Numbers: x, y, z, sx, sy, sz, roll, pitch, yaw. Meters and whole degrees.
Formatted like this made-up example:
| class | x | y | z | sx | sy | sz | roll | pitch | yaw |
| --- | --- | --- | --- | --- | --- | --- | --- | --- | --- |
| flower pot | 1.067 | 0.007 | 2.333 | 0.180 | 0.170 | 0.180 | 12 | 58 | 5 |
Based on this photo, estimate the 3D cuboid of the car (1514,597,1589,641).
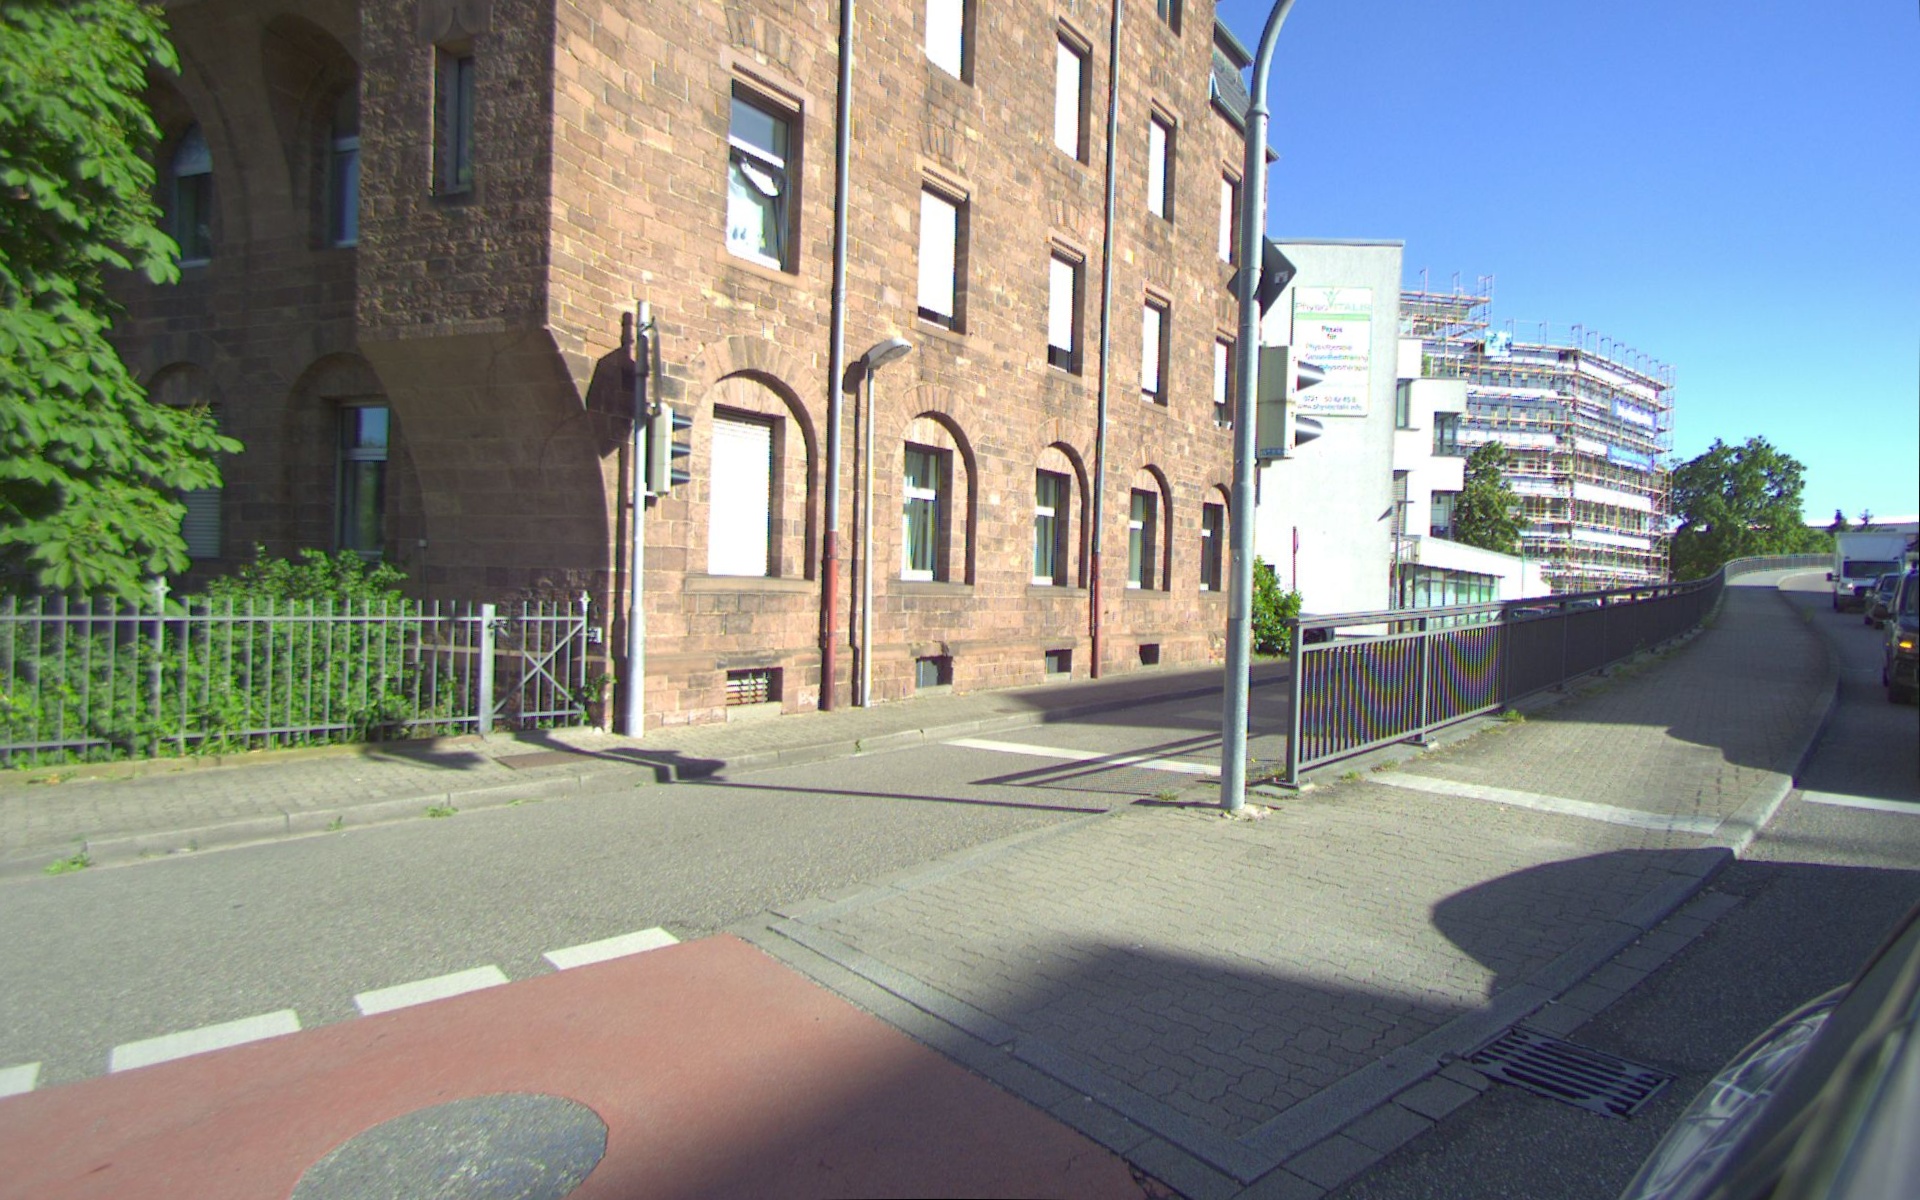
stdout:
| class | x | y | z | sx | sy | sz | roll | pitch | yaw |
| --- | --- | --- | --- | --- | --- | --- | --- | --- | --- |
| car | 22.891 | 0.695 | 39.076 | 2.043 | 1.551 | 4.037 | 2 | 0 | 37 |

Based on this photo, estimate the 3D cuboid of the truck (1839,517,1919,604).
| class | x | y | z | sx | sy | sz | roll | pitch | yaw |
| --- | --- | --- | --- | --- | --- | --- | --- | --- | --- |
| truck | 37.092 | -1.501 | 40.716 | 2.495 | 3.167 | 6.855 | 2 | 1 | 41 |

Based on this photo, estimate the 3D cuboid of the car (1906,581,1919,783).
| class | x | y | z | sx | sy | sz | roll | pitch | yaw |
| --- | --- | --- | --- | --- | --- | --- | --- | --- | --- |
| car | 9.287 | 0.626 | 8.492 | 1.875 | 1.489 | 4.562 | 3 | 2 | 44 |

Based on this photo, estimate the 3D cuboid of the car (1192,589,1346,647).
| class | x | y | z | sx | sy | sz | roll | pitch | yaw |
| --- | --- | --- | --- | --- | --- | --- | --- | --- | --- |
| car | 9.118 | 0.516 | 30.179 | 4.020 | 1.551 | 1.917 | 2 | 0 | 5 |

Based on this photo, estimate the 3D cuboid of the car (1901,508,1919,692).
| class | x | y | z | sx | sy | sz | roll | pitch | yaw |
| --- | --- | --- | --- | --- | --- | --- | --- | --- | --- |
| car | 14.138 | 0.052 | 13.719 | 1.945 | 2.290 | 4.710 | 2 | 1 | 43 |

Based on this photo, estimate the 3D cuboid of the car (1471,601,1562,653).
| class | x | y | z | sx | sy | sz | roll | pitch | yaw |
| --- | --- | --- | --- | --- | --- | --- | --- | --- | --- |
| car | 18.588 | 0.871 | 33.708 | 2.043 | 1.551 | 4.036 | 2 | 0 | 38 |

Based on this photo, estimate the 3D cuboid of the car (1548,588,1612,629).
| class | x | y | z | sx | sy | sz | roll | pitch | yaw |
| --- | --- | --- | --- | --- | --- | --- | --- | --- | --- |
| car | 27.616 | 0.383 | 45.034 | 2.043 | 1.707 | 4.037 | 2 | 0 | 37 |
